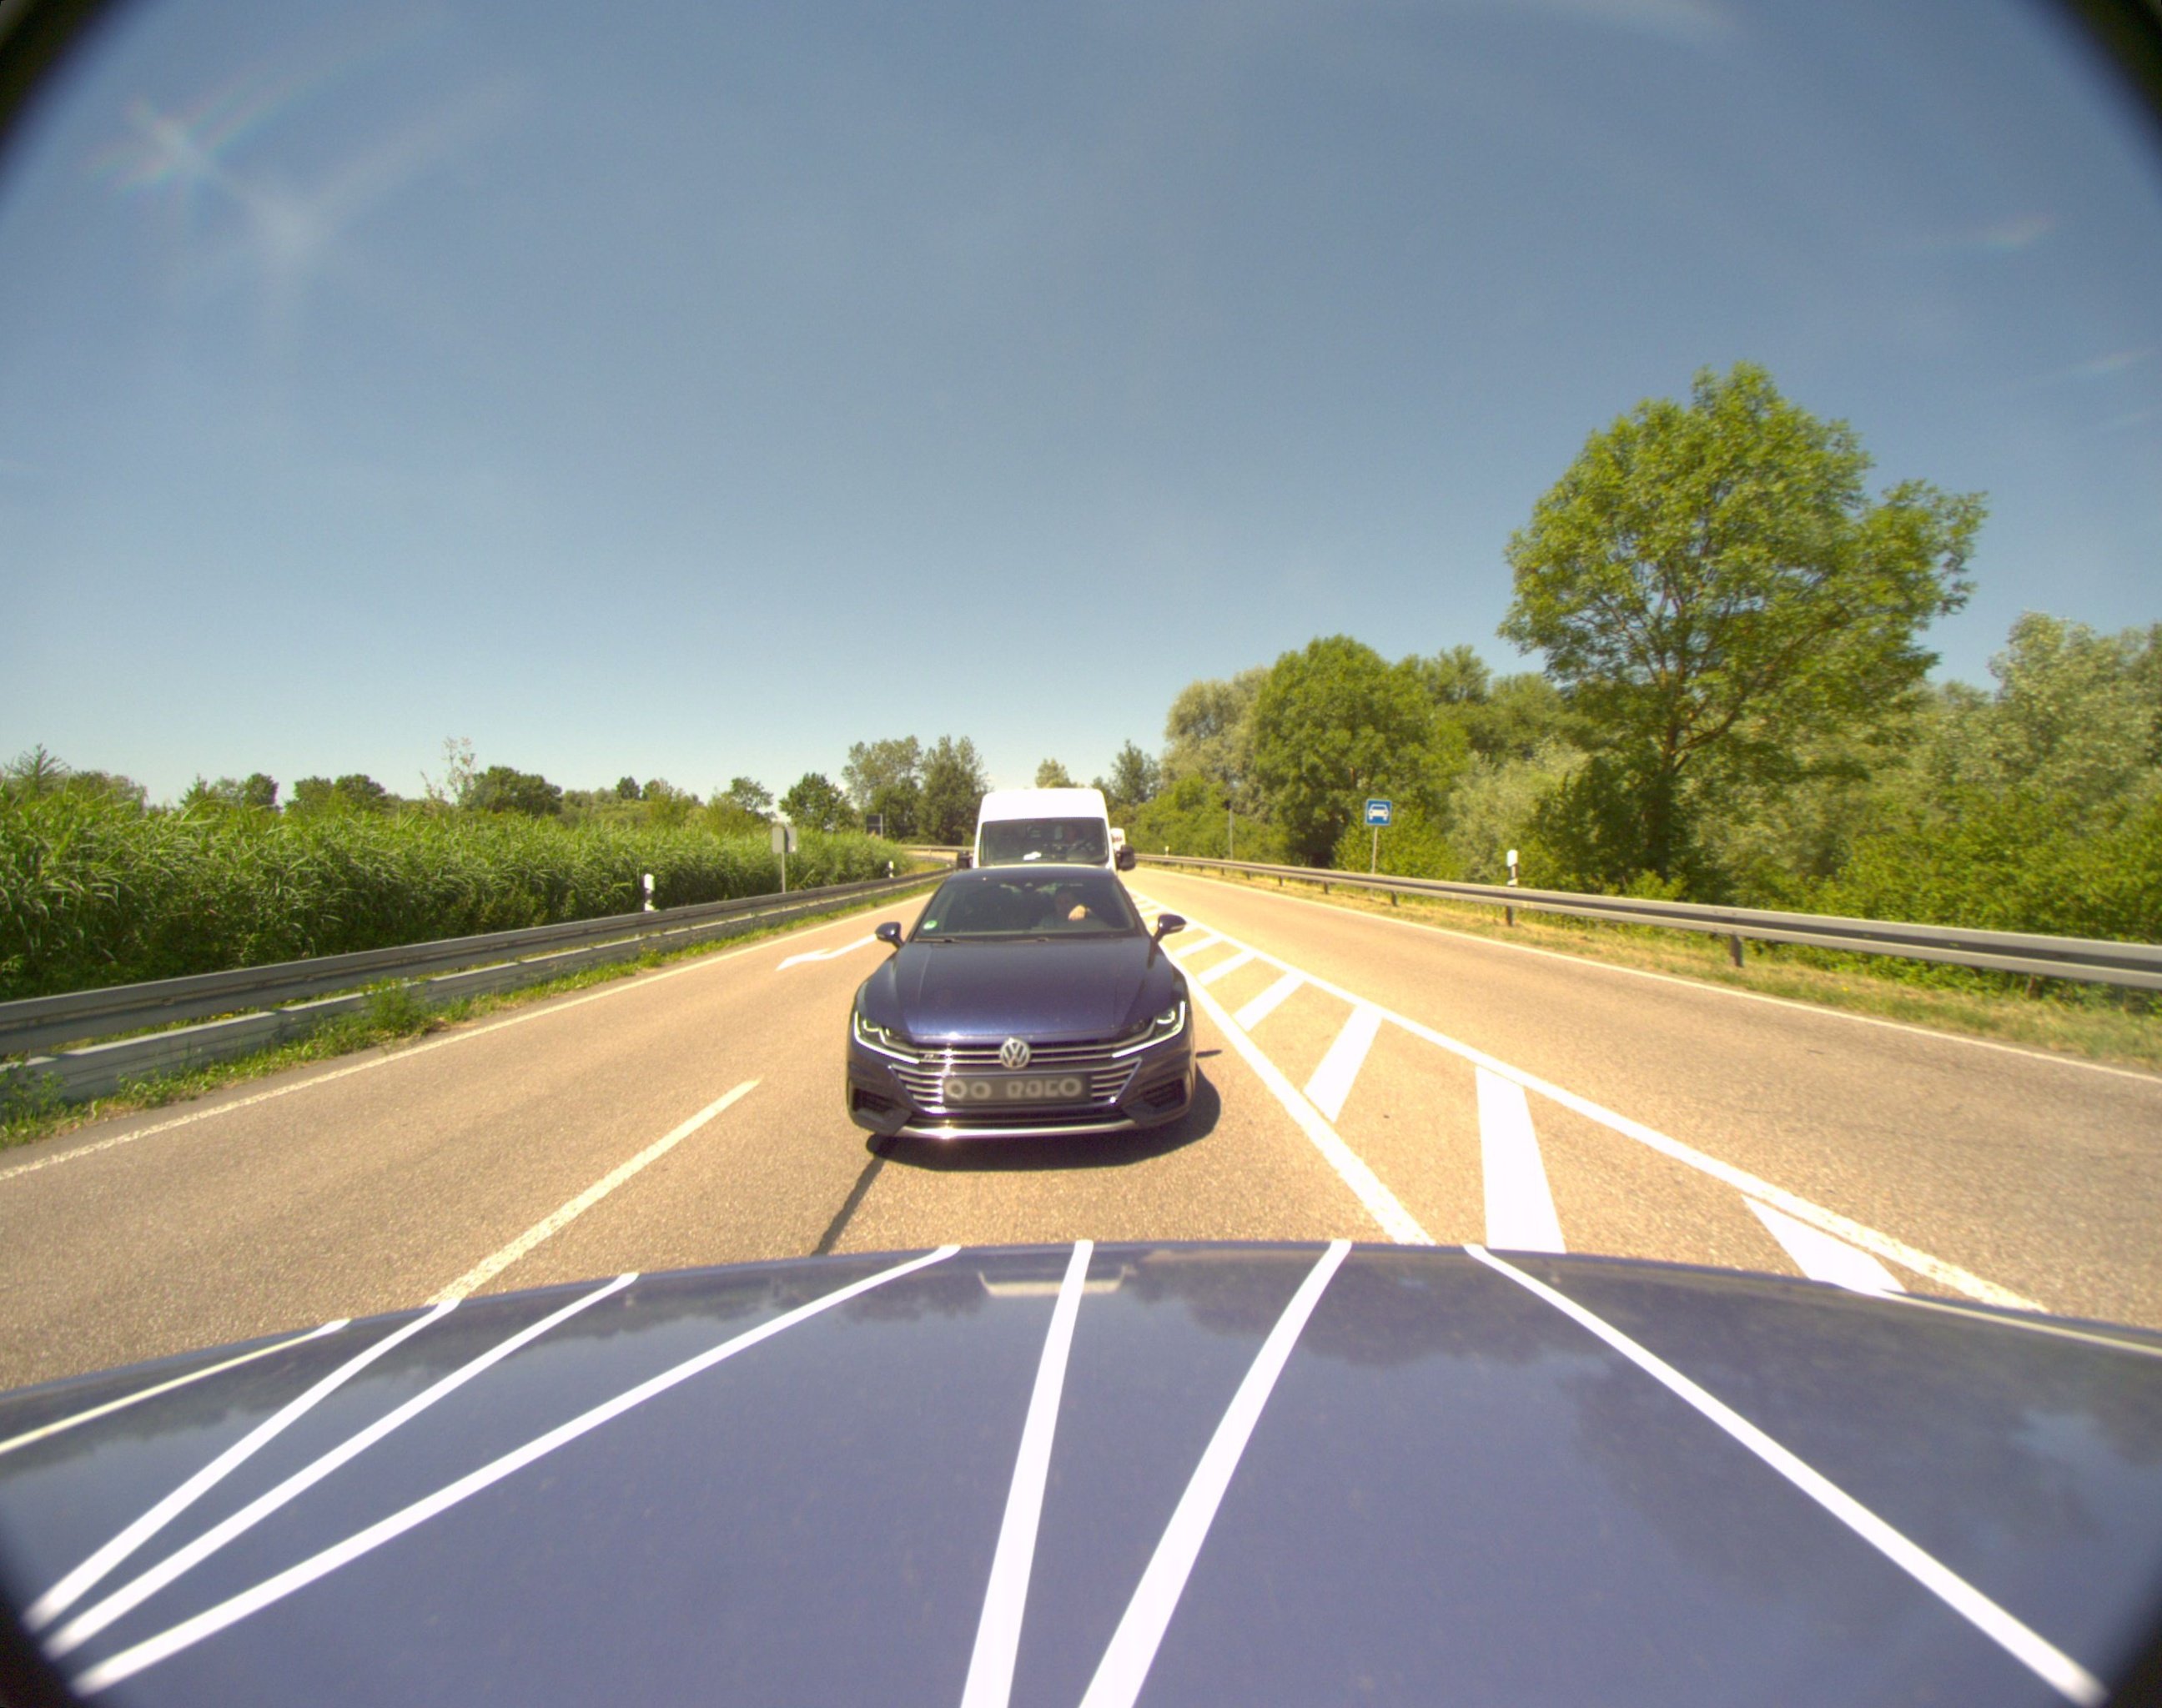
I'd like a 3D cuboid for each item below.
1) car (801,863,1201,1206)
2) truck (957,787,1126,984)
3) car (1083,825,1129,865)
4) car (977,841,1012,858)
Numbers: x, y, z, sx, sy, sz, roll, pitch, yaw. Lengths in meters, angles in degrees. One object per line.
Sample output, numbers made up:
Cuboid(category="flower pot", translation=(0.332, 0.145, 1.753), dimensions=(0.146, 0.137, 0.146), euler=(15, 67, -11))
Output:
Cuboid(category="car", translation=(-0.344, 0.871, 5.746), dimensions=(1.819, 1.454, 4.415), euler=(-2, 1, 1))
Cuboid(category="truck", translation=(-0.662, 0.349, 12.281), dimensions=(2.011, 2.365, 5.909), euler=(-2, 1, -4))
Cuboid(category="car", translation=(1.604, -0.625, 50.672), dimensions=(2.000, 2.403, 5.584), euler=(-5, 2, -7))
Cuboid(category="car", translation=(-8.617, -0.455, 75.403), dimensions=(1.745, 1.676, 4.198), euler=(-1, 1, -32))
